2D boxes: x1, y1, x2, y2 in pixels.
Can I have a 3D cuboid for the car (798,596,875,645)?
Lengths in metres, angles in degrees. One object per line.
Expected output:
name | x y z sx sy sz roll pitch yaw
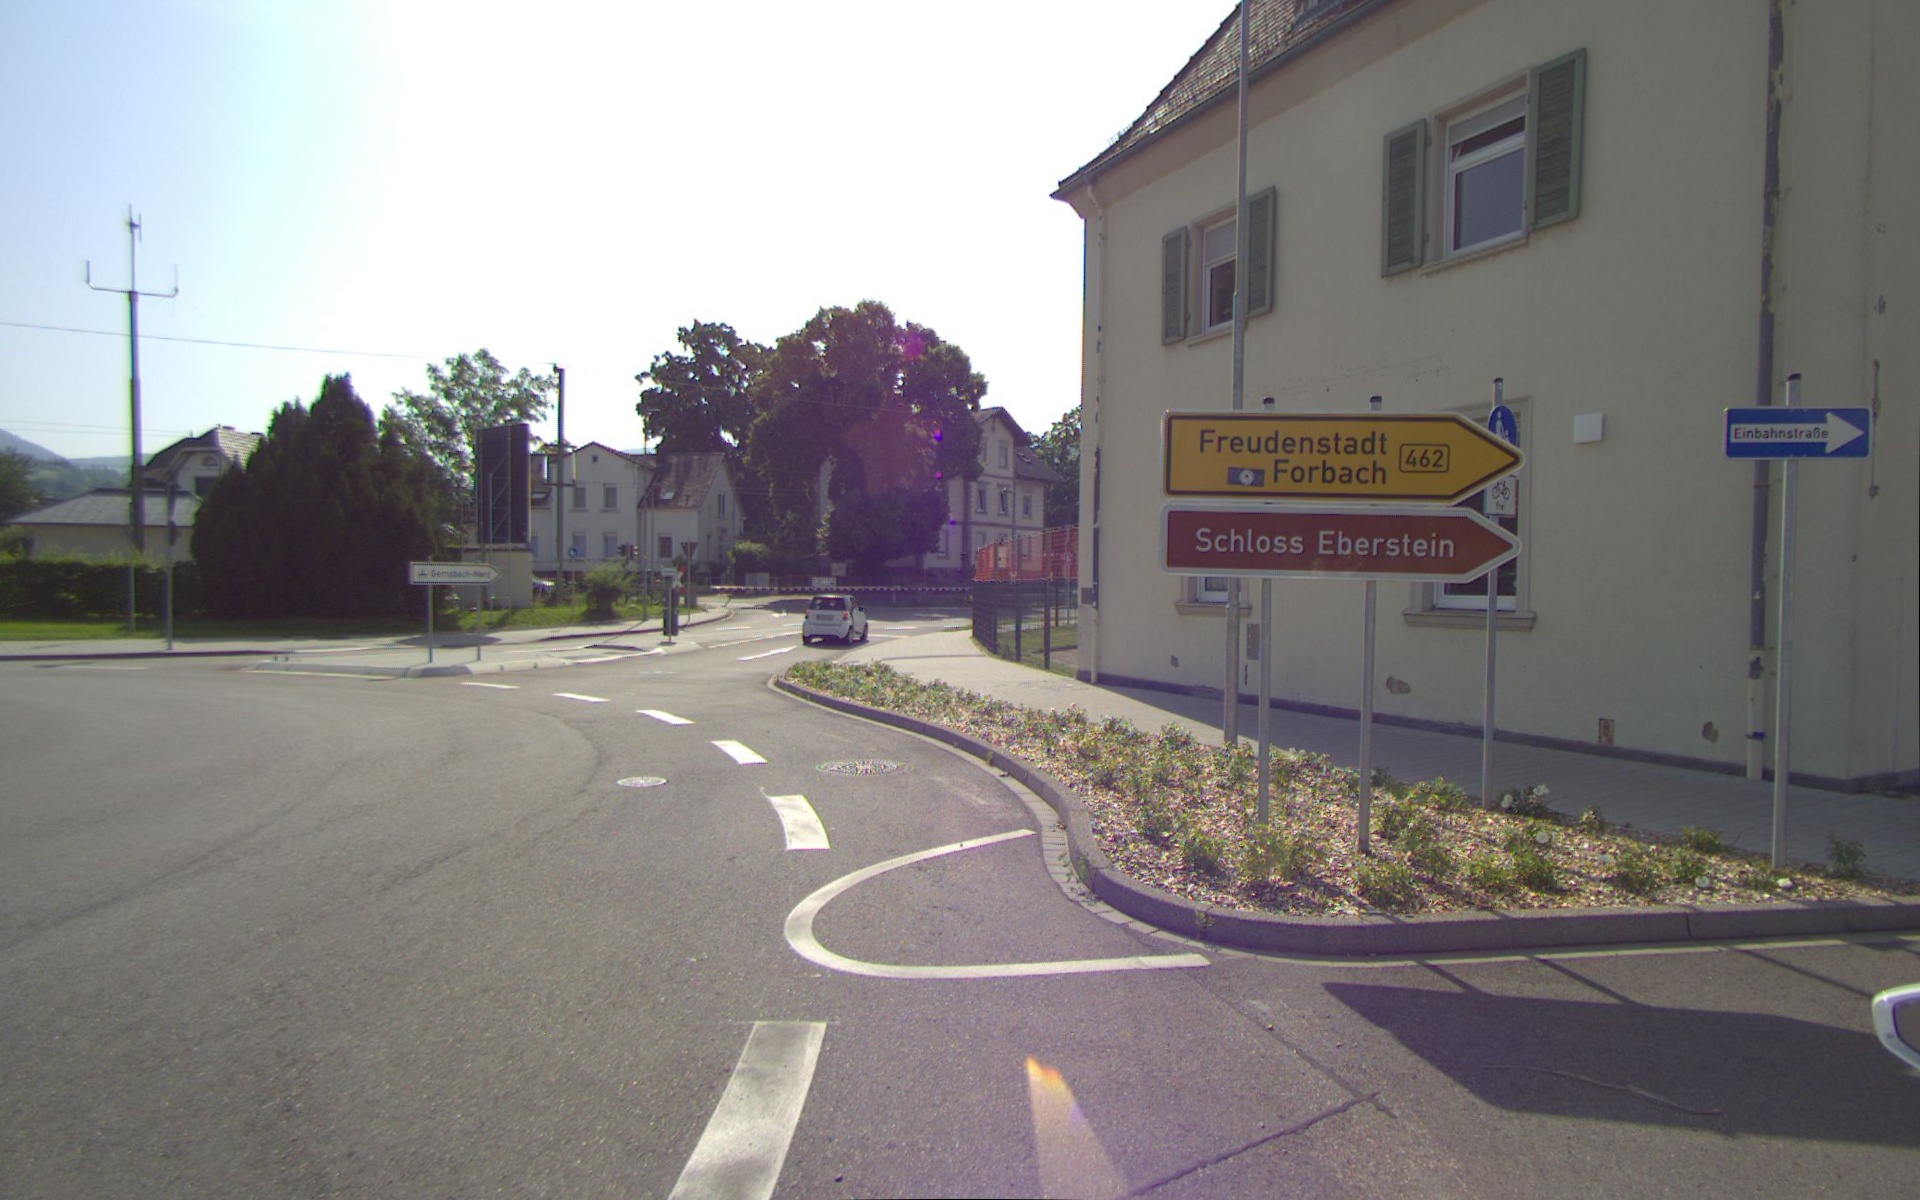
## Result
car | -4.003 0.630 33.177 1.680 1.416 4.001 1 1 5

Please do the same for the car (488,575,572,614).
car | -22.518 -0.322 52.653 3.949 1.941 1.880 -1 4 -27
